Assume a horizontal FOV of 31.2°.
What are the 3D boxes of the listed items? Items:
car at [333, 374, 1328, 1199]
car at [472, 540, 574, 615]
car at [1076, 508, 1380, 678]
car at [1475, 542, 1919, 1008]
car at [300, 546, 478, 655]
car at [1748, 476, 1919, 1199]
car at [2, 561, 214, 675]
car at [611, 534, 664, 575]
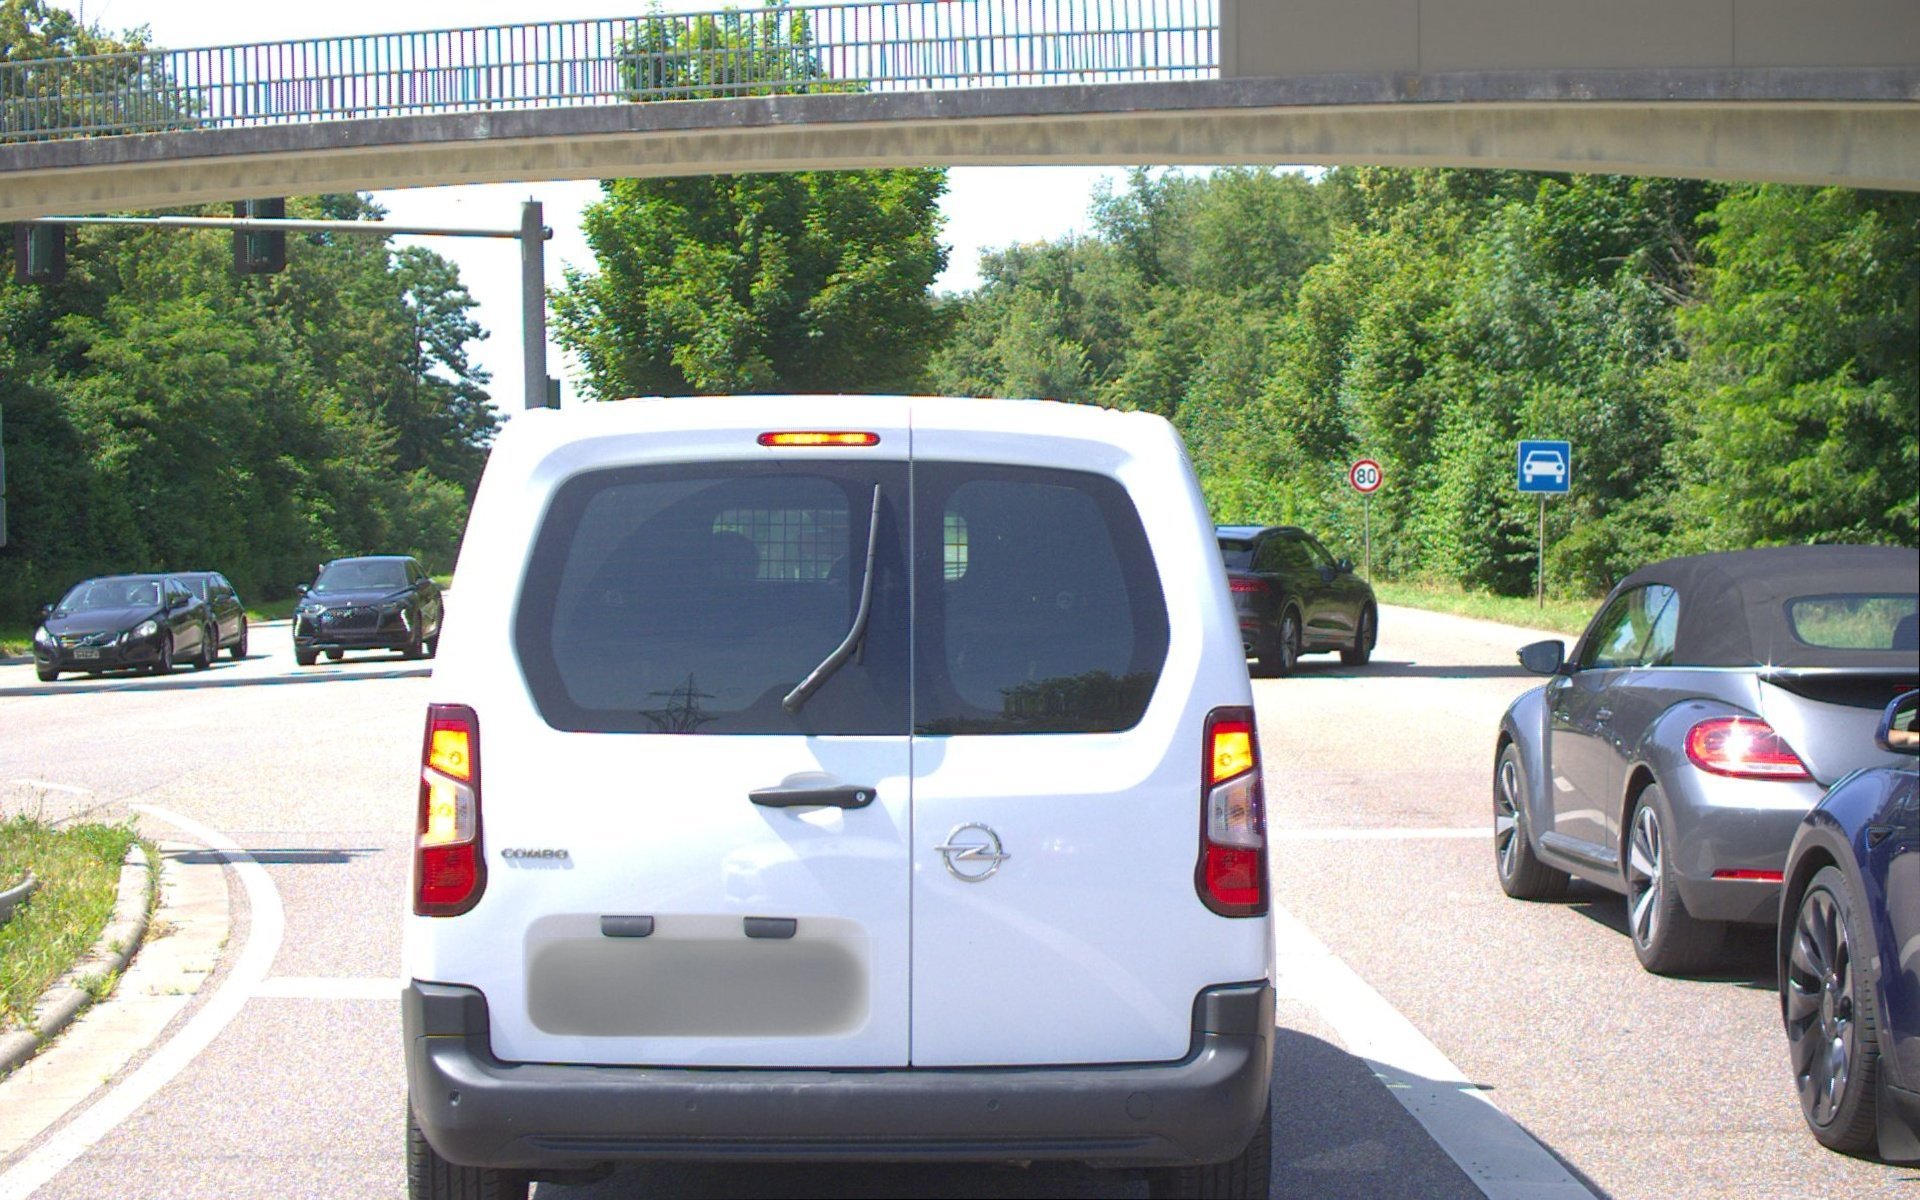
[{"bbox_3d":[-0.297,0.436,8.443,1.849,1.819,3.982,1,2,-2],"label":"car"},{"bbox_3d":[-12.454,-0.671,98.191,2.208,1.986,5.489,-2,1,-1],"label":"car"},{"bbox_3d":[3.137,-0.128,39.130,2.044,1.693,5.081,-3,1,21],"label":"car"},{"bbox_3d":[3.225,0.533,12.985,1.900,1.472,3.939,1,1,-1],"label":"car"},{"bbox_3d":[-8.344,-0.028,50.556,1.993,1.518,4.028,1,1,-1],"label":"car"},{"bbox_3d":[3.060,0.573,6.781,1.900,1.639,4.520,1,1,-1],"label":"car"},{"bbox_3d":[-12.091,0.223,49.035,2.008,1.455,4.055,-2,1,-1],"label":"car"},{"bbox_3d":[-16.322,-2.315,174.221,2.208,1.986,4.734,-2,1,-1],"label":"car"}]
